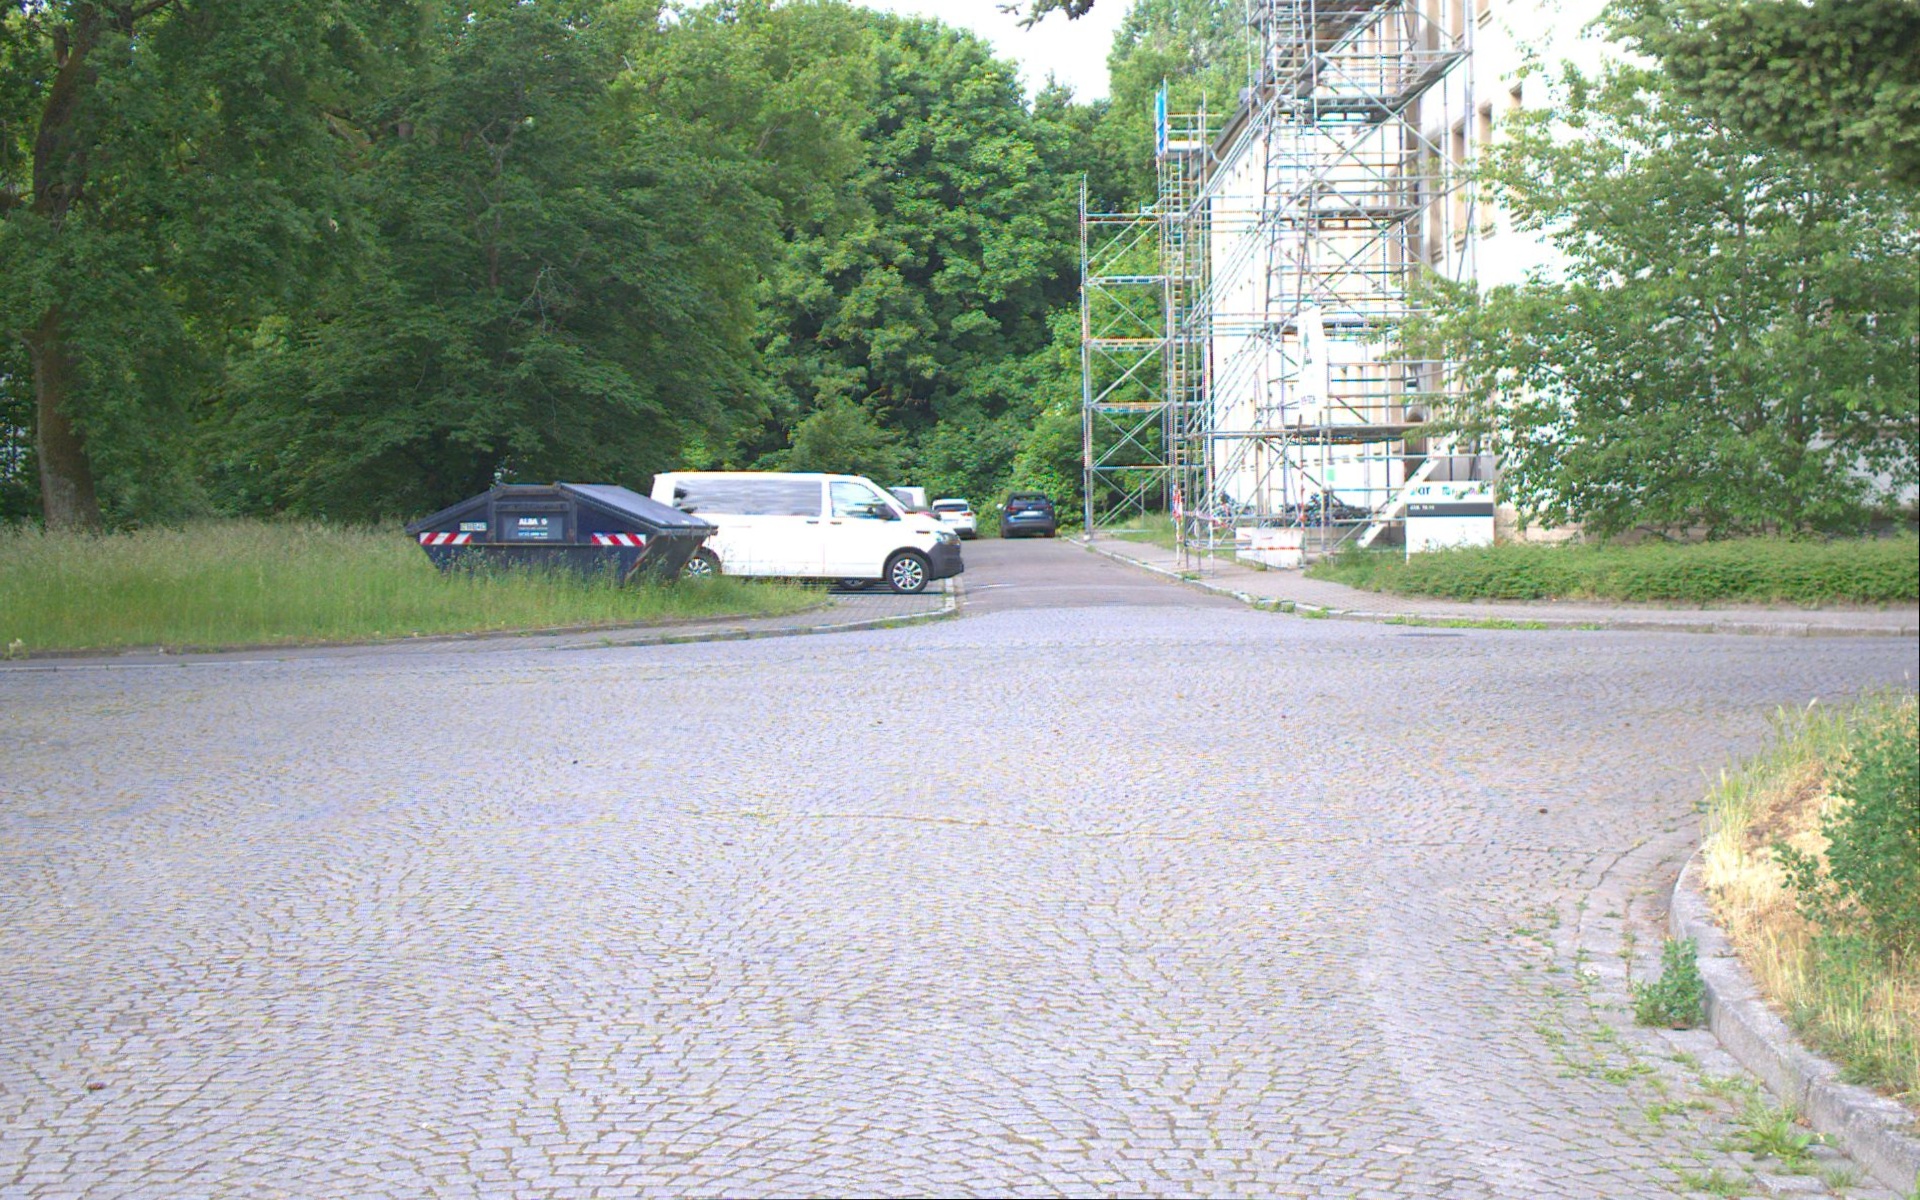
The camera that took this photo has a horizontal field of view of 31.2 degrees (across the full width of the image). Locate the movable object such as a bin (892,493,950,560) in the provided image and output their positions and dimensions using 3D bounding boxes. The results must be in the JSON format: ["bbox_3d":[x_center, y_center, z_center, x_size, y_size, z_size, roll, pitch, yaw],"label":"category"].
[{"bbox_3d":[-0.848,-1.600,74.795,1.184,1.402,0.975,2,1,1],"label":"movable object such as a bin"}]

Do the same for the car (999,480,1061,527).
[{"bbox_3d":[2.497,-3.436,122.558,2.063,1.588,4.000,2,1,3],"label":"car"}]

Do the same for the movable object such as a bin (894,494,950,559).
[{"bbox_3d":[-0.835,-1.626,75.933,1.184,1.402,0.975,2,1,1],"label":"movable object such as a bin"}]

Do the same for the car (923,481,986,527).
[{"bbox_3d":[-0.207,-3.389,122.289,2.001,1.542,3.959,2,1,-3],"label":"car"}]

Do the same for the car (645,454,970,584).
[{"bbox_3d":[-2.460,-1.319,56.224,5.200,2.053,2.188,0,1,-1],"label":"car"}]

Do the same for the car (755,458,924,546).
[{"bbox_3d":[-2.959,-2.373,83.686,3.986,2.007,1.922,2,1,-4],"label":"car"}]
